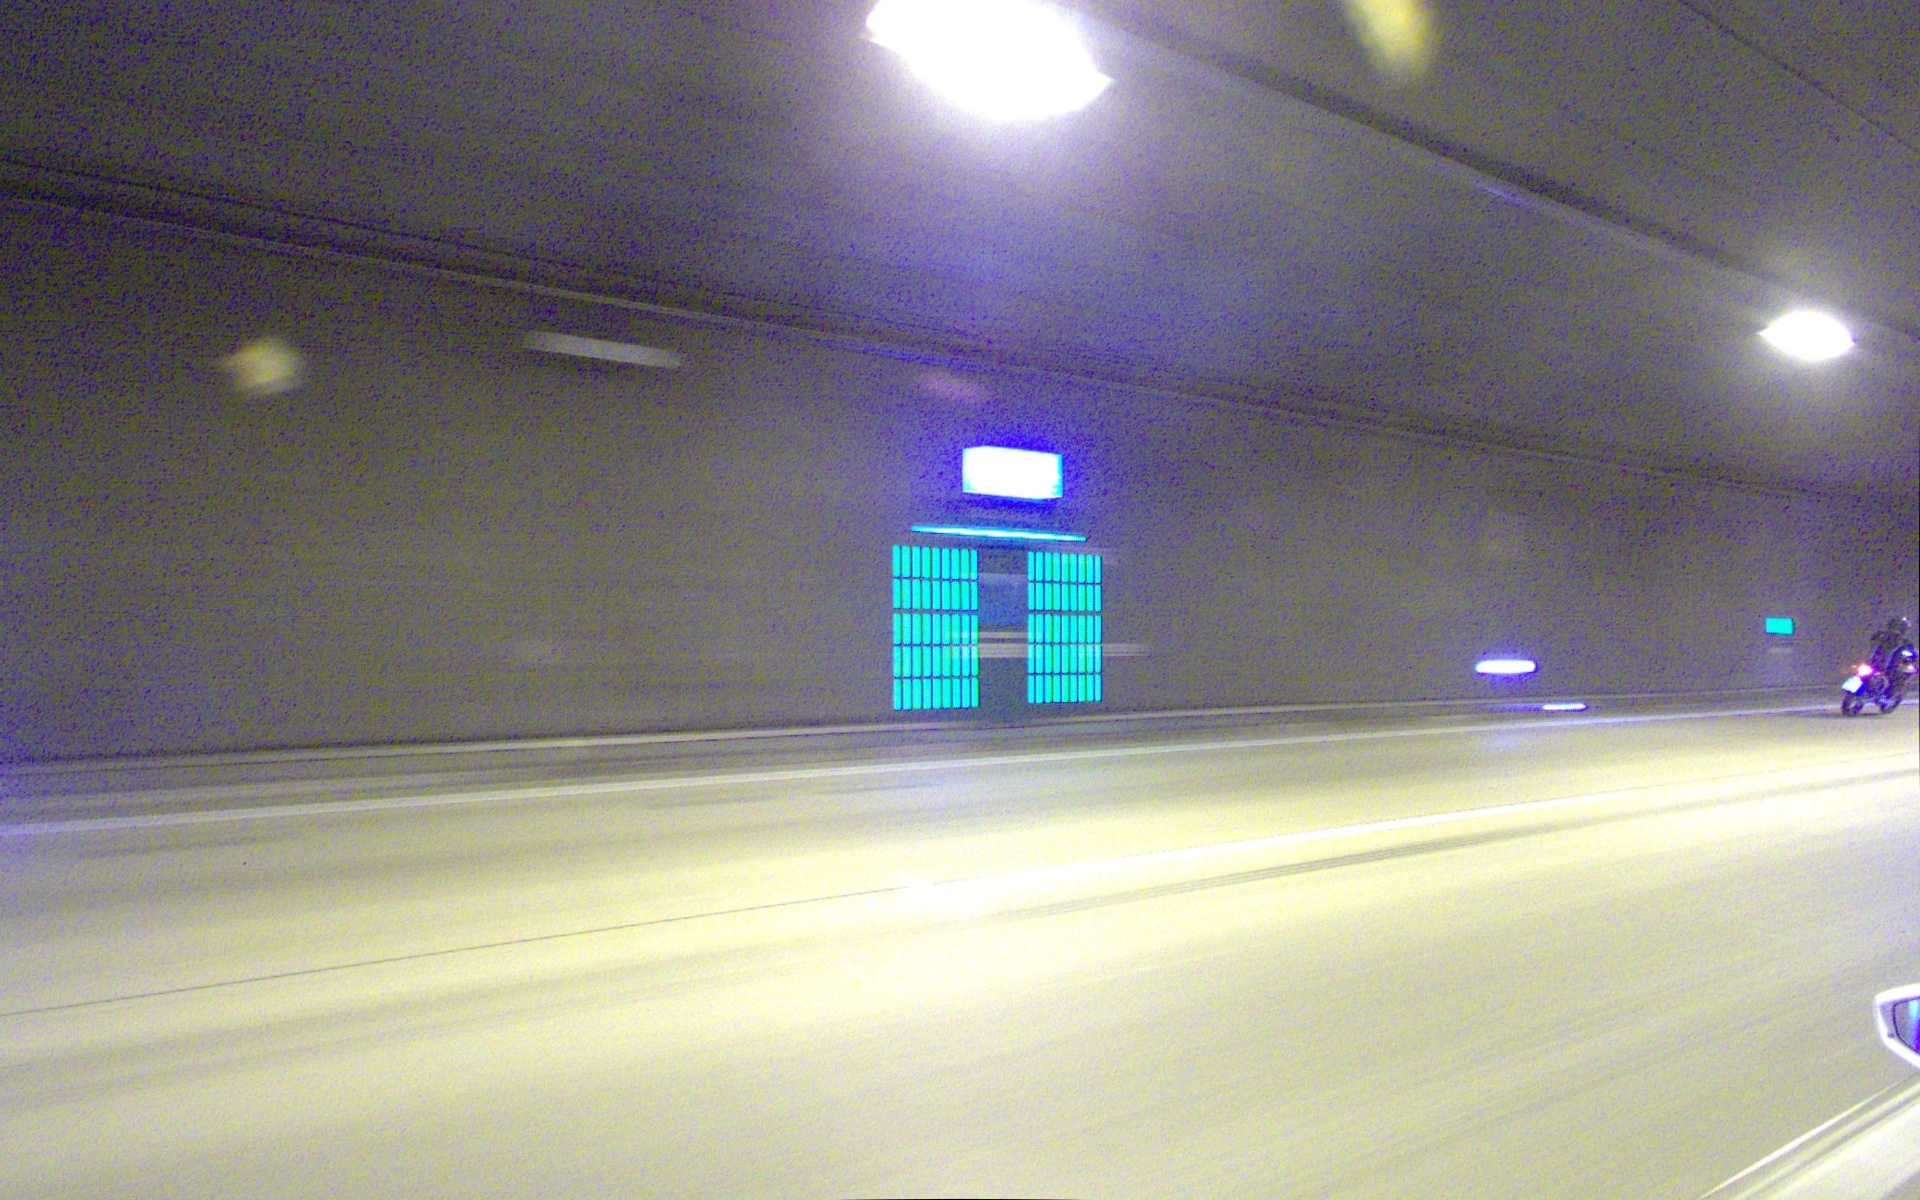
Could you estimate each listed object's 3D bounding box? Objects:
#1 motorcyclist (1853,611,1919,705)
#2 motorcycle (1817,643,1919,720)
[{"bbox_3d":[15.622,0.958,16.874,0.880,1.509,0.624,1,2,-31],"label":"motorcyclist"},{"bbox_3d":[15.624,1.344,16.992,2.401,1.173,1.047,2,-1,-32],"label":"motorcycle"}]
